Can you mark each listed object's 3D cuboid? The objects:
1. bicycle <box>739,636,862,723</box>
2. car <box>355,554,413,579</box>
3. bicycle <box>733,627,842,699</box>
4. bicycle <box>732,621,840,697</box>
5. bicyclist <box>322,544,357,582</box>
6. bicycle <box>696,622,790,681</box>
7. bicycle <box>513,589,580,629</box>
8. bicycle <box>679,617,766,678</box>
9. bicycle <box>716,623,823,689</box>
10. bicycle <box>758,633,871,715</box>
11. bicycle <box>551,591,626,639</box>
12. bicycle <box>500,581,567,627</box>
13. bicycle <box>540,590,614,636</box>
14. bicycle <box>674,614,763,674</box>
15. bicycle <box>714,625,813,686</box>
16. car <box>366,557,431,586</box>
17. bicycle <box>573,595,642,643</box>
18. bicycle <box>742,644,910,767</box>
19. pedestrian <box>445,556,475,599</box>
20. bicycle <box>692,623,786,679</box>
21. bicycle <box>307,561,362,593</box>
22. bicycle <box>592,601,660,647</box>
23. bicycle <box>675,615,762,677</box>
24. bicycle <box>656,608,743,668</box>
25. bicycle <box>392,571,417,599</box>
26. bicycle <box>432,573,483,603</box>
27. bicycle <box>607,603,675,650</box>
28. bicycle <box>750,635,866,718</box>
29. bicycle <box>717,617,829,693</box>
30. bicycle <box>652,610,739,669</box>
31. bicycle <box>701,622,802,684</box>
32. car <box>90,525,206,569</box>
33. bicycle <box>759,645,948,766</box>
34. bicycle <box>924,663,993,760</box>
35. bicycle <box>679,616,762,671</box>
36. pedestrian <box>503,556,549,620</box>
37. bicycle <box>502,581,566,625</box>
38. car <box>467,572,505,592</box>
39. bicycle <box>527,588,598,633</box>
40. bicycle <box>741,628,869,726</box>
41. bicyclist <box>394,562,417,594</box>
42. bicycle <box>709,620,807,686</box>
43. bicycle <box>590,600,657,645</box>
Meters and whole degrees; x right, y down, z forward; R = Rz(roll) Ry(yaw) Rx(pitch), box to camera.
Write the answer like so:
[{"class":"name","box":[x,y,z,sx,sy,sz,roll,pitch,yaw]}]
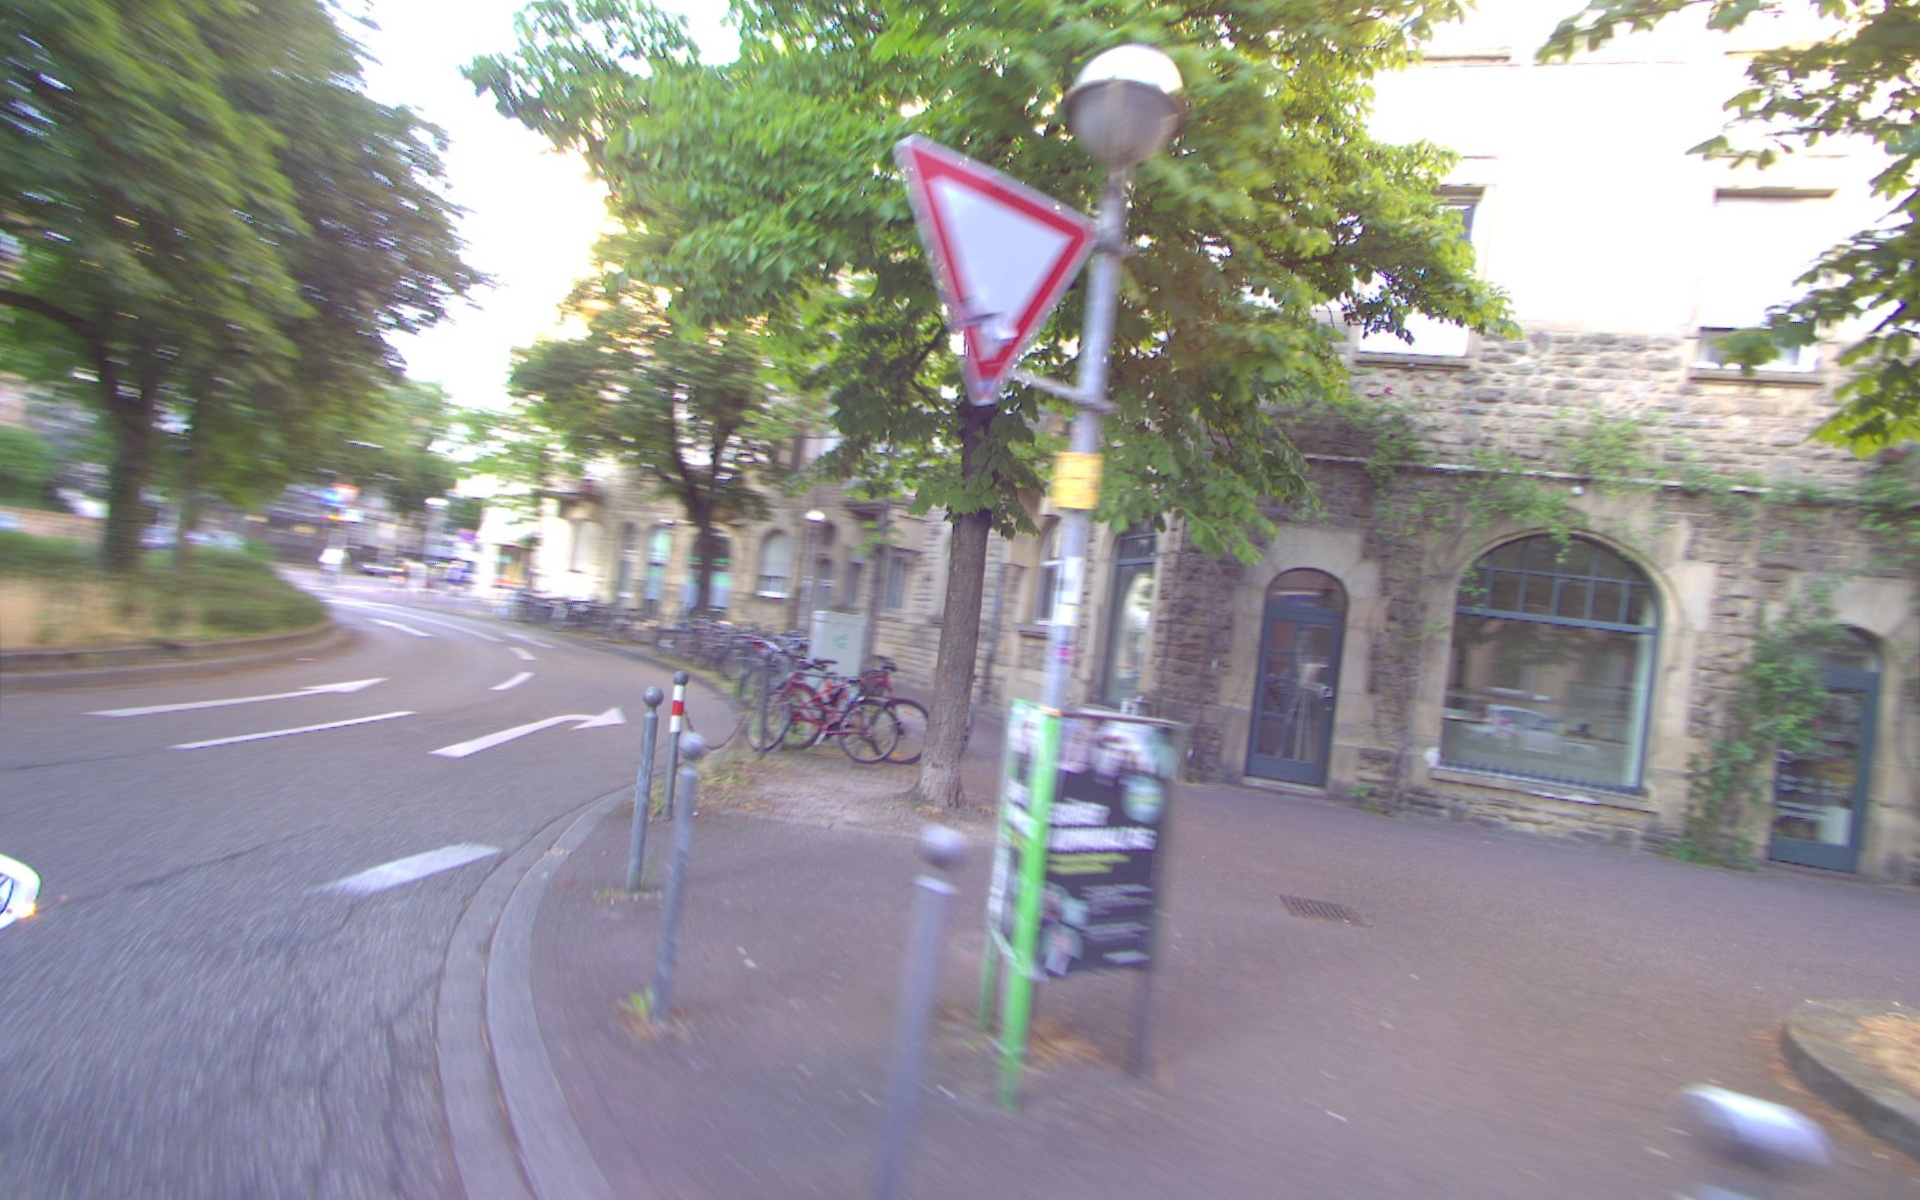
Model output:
[{"class":"bicycle","box":[-2.287,1.139,14.402,1.584,1.032,0.553,8,-1,-17]},{"class":"car","box":[-44.063,-2.545,77.045,1.975,1.443,4.630,7,-2,-5]},{"class":"bicycle","box":[-3.096,1.144,18.096,1.774,1.076,0.445,8,-1,-25]},{"class":"bicycle","box":[-3.187,1.086,18.496,1.774,1.182,0.445,8,-1,-25]},{"class":"bicyclist","box":[-25.899,-1.542,41.977,0.687,1.428,0.864,7,-1,25]},{"class":"bicycle","box":[-4.632,1.111,21.522,1.835,1.064,0.416,8,-1,-29]},{"class":"bicycle","box":[-13.075,0.306,31.838,0.689,1.050,1.803,6,-2,35]},{"class":"bicycle","box":[-5.307,1.076,22.530,1.835,1.095,0.419,8,-20,-29]},{"class":"bicycle","box":[-3.748,1.117,19.847,1.899,1.077,0.549,8,-1,-27]},{"class":"bicycle","box":[-2.271,1.166,15.757,1.586,1.088,0.417,8,-1,-21]},{"class":"bicycle","box":[-11.025,0.459,29.916,0.696,1.176,1.881,6,-2,45]},{"class":"bicycle","box":[-13.707,0.144,32.399,0.689,1.251,1.789,6,-2,35]},{"class":"bicycle","box":[-11.566,0.405,30.435,0.632,1.176,1.881,6,-2,45]},{"class":"bicycle","box":[-5.554,1.019,23.161,1.835,1.158,0.416,8,-1,-29]},{"class":"bicycle","box":[-3.968,1.128,20.350,1.832,1.026,0.416,8,-1,-25]},{"class":"car","box":[-39.460,-1.947,70.818,1.915,1.527,4.634,7,-2,-1]},{"class":"bicycle","box":[-10.123,0.554,28.908,1.662,1.143,0.481,8,5,-38]},{"class":"bicycle","box":[-1.368,1.086,10.420,1.579,1.052,0.432,7,-1,-5]},{"class":"pedestrian","box":[-22.608,-1.017,45.490,0.863,1.816,0.915,8,-1,-37]},{"class":"bicycle","box":[-4.773,1.112,21.775,1.835,1.011,0.416,8,-1,-29]},{"class":"bicycle","box":[-26.014,-0.952,41.875,0.687,1.067,1.793,7,-2,25]},{"class":"bicycle","box":[-9.248,0.679,27.896,0.480,1.091,1.667,6,-2,44]},{"class":"bicycle","box":[-5.443,1.064,22.767,1.835,1.133,0.419,8,-20,-29]},{"class":"bicycle","box":[-6.184,0.922,23.936,1.864,1.228,0.489,8,-7,-29]},{"class":"bicycle","box":[-26.975,-0.736,48.856,0.690,1.251,1.855,7,-1,-21]},{"class":"bicycle","box":[-23.169,-0.541,46.413,1.865,1.143,0.723,9,-2,-41]},{"class":"bicycle","box":[-8.763,0.738,27.671,0.480,1.091,1.667,6,-2,44]},{"class":"bicycle","box":[-2.314,1.171,15.337,1.586,1.076,0.417,8,-1,-21]},{"class":"bicycle","box":[-3.552,1.054,19.128,1.899,1.214,0.549,8,-1,-27]},{"class":"bicycle","box":[-6.376,0.961,24.329,1.874,1.153,0.486,10,1,-42]},{"class":"bicycle","box":[-4.366,1.125,21.118,1.899,1.073,0.532,8,-1,-28]},{"class":"car","box":[-39.068,-2.528,48.578,1.915,1.527,4.421,7,-2,-1]},{"class":"bicycle","box":[-1.133,1.127,10.814,1.865,1.052,0.432,7,-1,-5]},{"class":"bicycle","box":[-0.043,1.345,12.483,0.425,0.980,1.724,7,-1,-11]},{"class":"bicycle","box":[-5.616,1.046,23.722,0.565,1.117,1.849,6,-2,38]},{"class":"pedestrian","box":[-15.490,-0.421,35.907,1.007,2.111,1.048,7,0,-43]},{"class":"bicycle","box":[-14.170,0.109,33.475,0.640,1.251,1.790,6,-1,33]},{"class":"car","box":[-45.276,-1.723,96.260,1.917,1.499,4.317,7,-2,-8]},{"class":"bicycle","box":[-12.179,0.342,30.847,0.630,1.176,1.887,6,-2,35]},{"class":"bicycle","box":[-2.151,1.069,13.979,1.584,1.161,0.553,8,-1,-17]},{"class":"bicyclist","box":[-26.926,-1.070,48.855,0.690,1.479,0.780,7,-1,-21]},{"class":"bicycle","box":[-4.132,1.095,20.629,1.832,1.130,0.416,8,-1,-25]},{"class":"bicycle","box":[-9.666,0.645,28.908,1.663,1.091,0.481,8,-1,-39]}]
